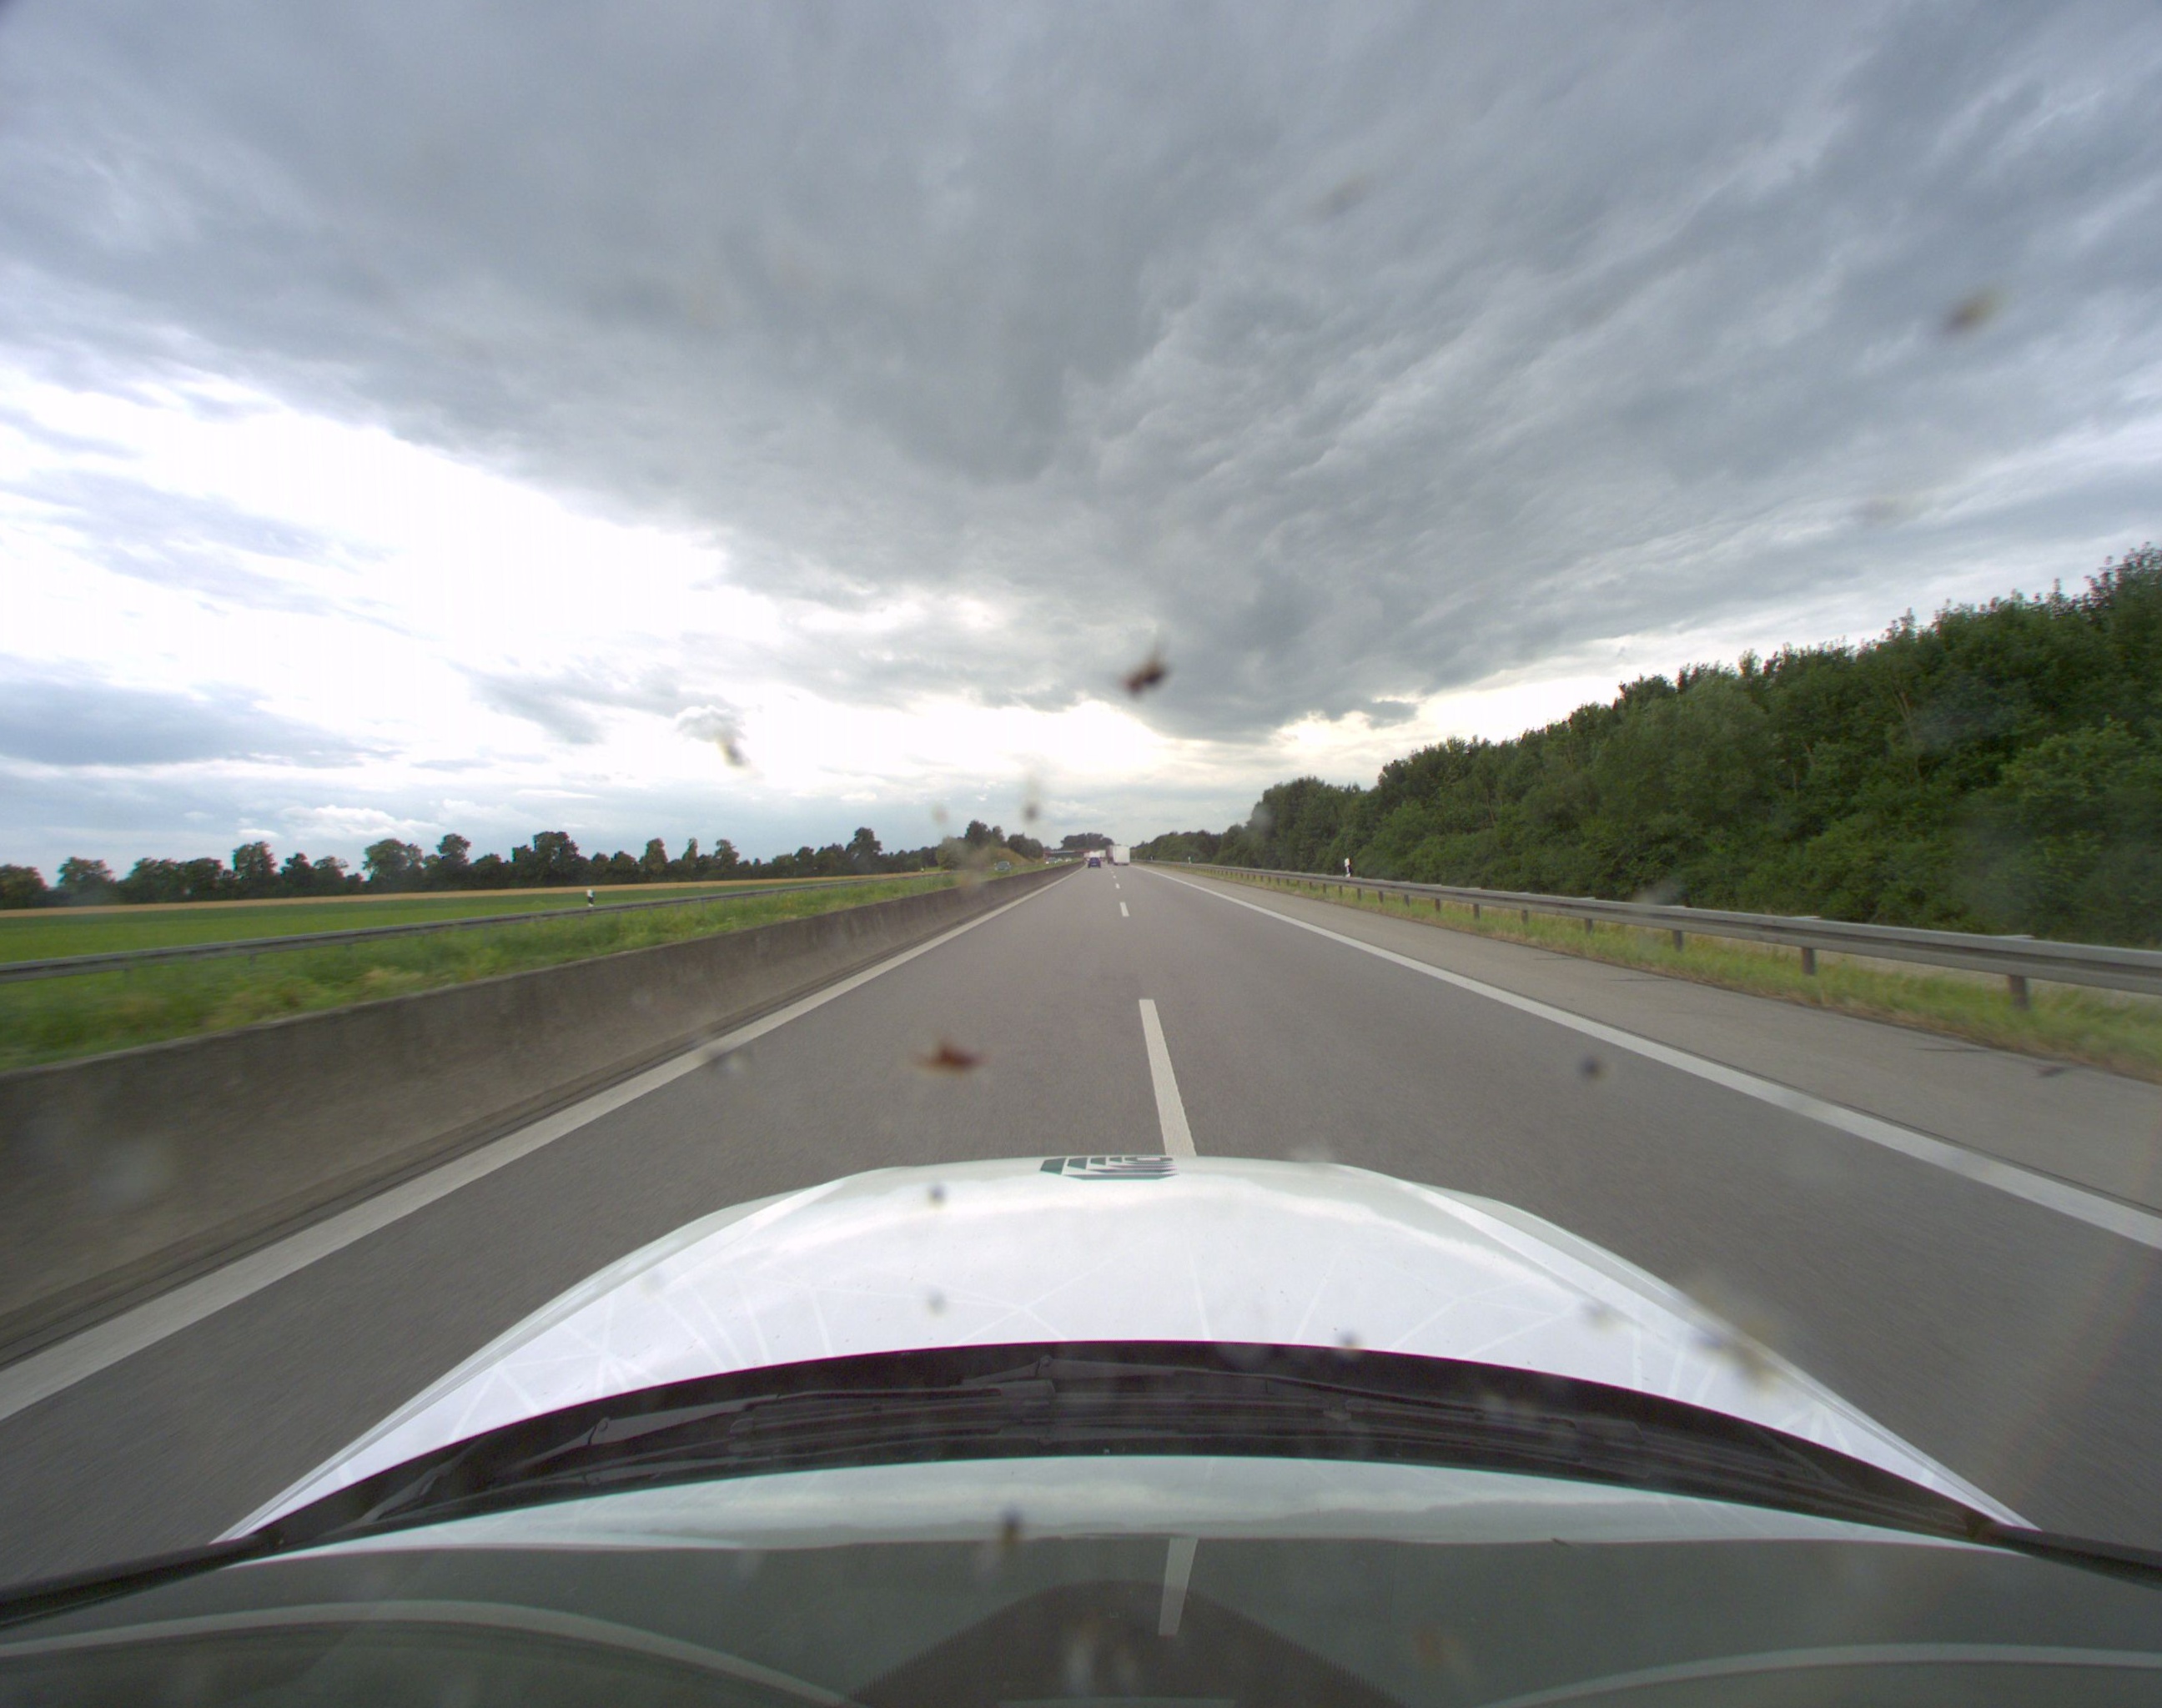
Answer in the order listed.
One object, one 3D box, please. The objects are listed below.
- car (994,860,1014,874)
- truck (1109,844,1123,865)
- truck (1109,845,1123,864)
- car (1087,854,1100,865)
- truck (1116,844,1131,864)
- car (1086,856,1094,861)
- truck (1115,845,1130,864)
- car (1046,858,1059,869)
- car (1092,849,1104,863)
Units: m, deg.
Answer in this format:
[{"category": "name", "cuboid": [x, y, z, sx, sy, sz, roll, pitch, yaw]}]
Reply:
[{"category": "car", "cuboid": [-9.343, 1.588, 99.301, 1.740, 1.487, 4.531, -4, 0, 1]}, {"category": "truck", "cuboid": [7.321, 0.096, 170.268, 2.662, 4.045, 11.114, -2, 0, 2]}, {"category": "truck", "cuboid": [7.539, 0.086, 175.630, 2.663, 4.045, 5.515, -2, 0, 2]}, {"category": "car", "cuboid": [1.693, 0.755, 108.567, 1.658, 1.407, 3.647, -1, 0, 0]}, {"category": "truck", "cuboid": [6.935, 0.010, 133.369, 2.406, 3.222, 7.147, -1, -1, 2]}, {"category": "car", "cuboid": [2.846, 1.461, 257.039, 1.989, 1.684, 3.995, -1, -1, -3]}, {"category": "truck", "cuboid": [7.207, 0.094, 140.563, 2.420, 3.243, 7.250, -1, -1, 2]}, {"category": "car", "cuboid": [-4.831, 1.521, 136.836, 1.834, 1.694, 4.358, -4, -1, 1]}, {"category": "car", "cuboid": [3.073, 0.419, 150.440, 2.122, 2.483, 5.840, -2, -1, 1]}]
